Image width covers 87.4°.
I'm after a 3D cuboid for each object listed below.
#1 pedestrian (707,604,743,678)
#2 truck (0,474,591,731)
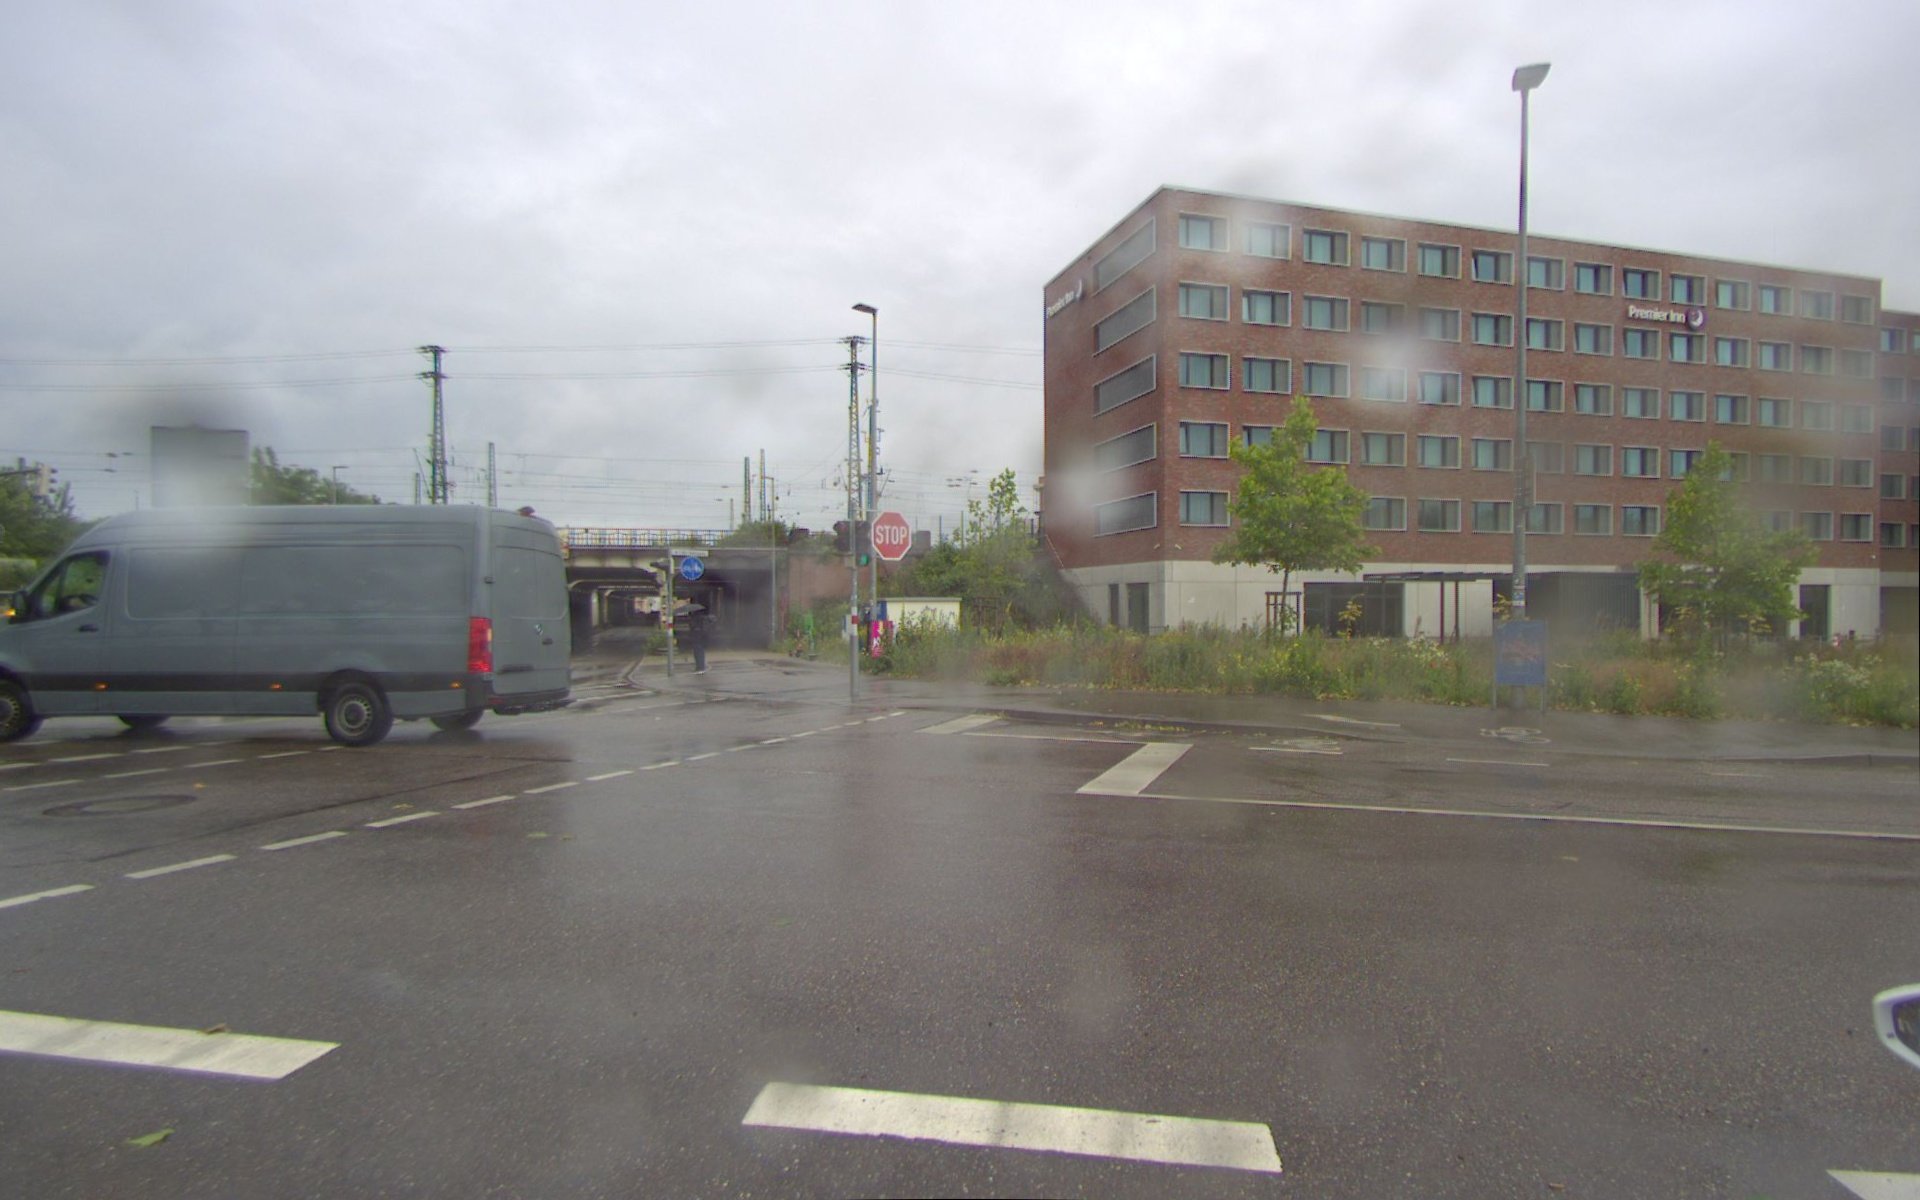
[{"bbox_3d":[-6.342,1.087,27.098,0.904,1.934,1.322,1,0,-15],"label":"pedestrian"},{"bbox_3d":[-8.127,0.003,11.838,6.836,2.654,2.092,1,-1,7],"label":"truck"}]
